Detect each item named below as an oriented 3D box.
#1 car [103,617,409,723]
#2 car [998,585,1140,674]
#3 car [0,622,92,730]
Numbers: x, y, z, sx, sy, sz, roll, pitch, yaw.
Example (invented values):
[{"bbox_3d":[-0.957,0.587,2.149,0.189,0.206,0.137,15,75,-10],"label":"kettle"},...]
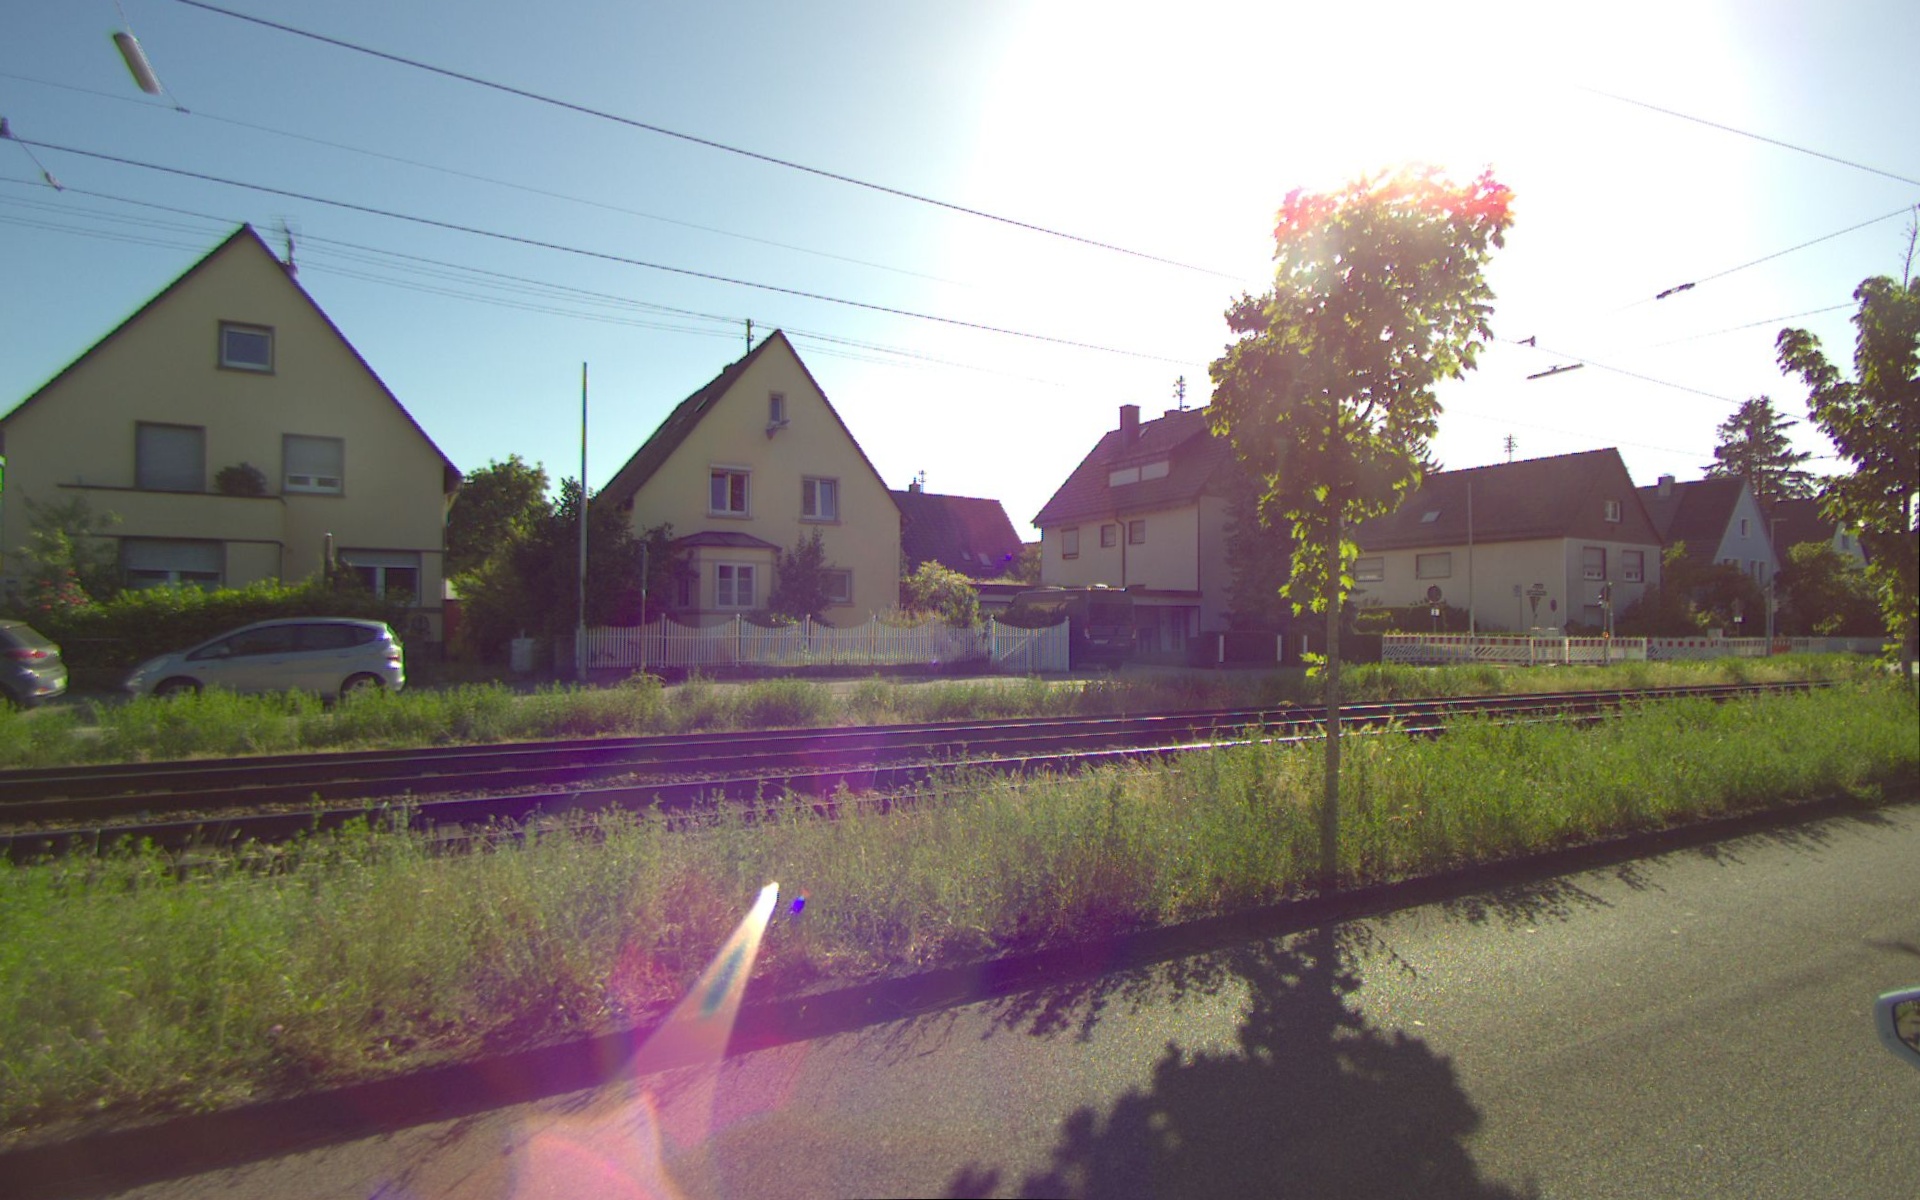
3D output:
[{"bbox_3d":[-11.639,1.111,16.992,4.009,1.574,1.937,1,-1,-31],"label":"car"},{"bbox_3d":[3.420,0.942,32.652,2.077,2.660,5.006,0,-1,-30],"label":"car"},{"bbox_3d":[-15.578,1.095,14.660,4.079,1.469,1.984,1,1,-31],"label":"car"}]
